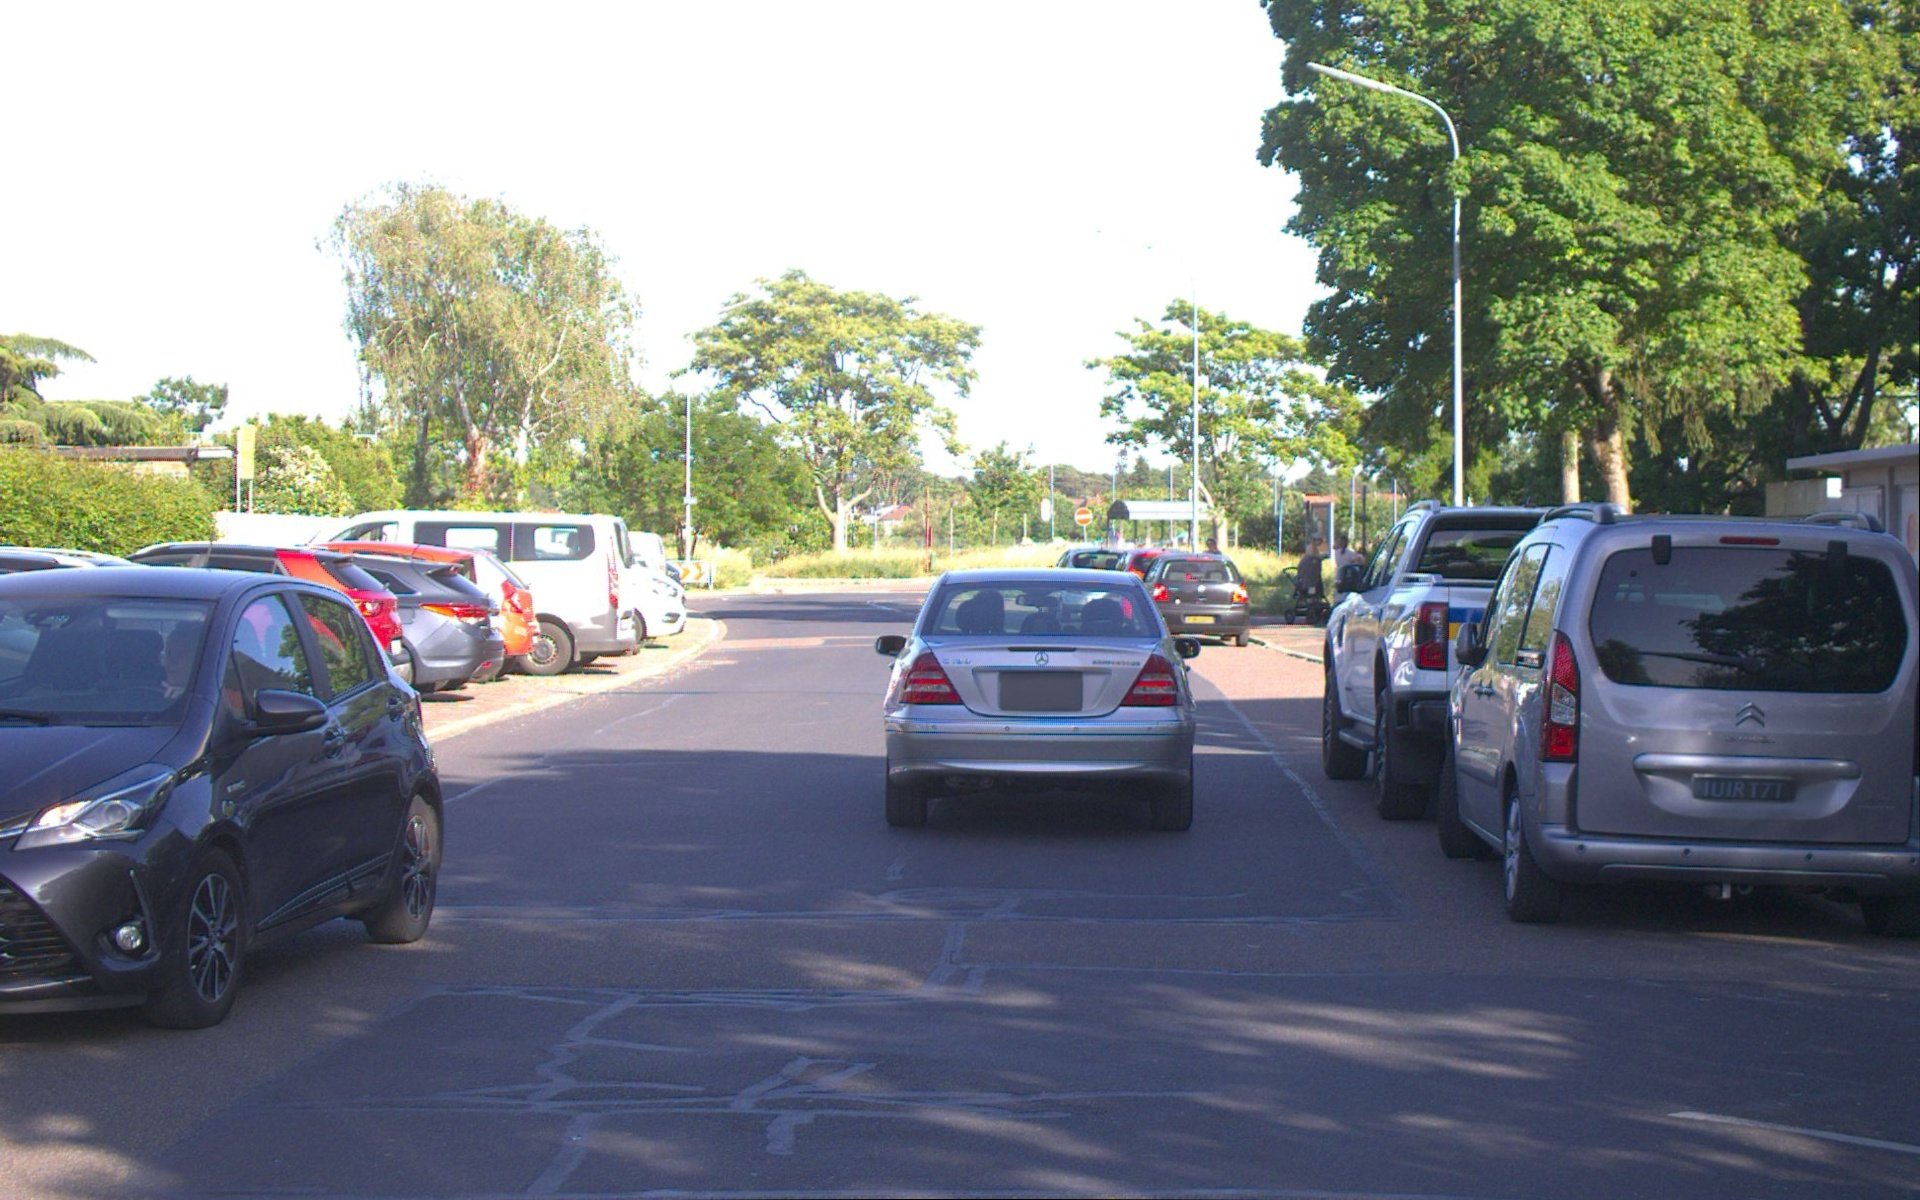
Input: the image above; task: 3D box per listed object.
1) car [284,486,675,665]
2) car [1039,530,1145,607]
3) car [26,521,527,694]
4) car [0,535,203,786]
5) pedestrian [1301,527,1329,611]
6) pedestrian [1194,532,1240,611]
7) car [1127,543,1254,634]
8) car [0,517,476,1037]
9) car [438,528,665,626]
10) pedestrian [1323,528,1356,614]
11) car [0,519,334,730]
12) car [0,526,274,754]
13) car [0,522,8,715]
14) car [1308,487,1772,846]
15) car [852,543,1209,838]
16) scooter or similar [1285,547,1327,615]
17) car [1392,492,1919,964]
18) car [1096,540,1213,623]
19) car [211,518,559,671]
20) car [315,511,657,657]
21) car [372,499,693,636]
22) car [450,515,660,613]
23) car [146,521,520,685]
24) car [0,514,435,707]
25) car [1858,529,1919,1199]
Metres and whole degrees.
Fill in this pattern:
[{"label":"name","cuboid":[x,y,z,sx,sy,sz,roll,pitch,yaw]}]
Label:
[{"label":"car","cuboid":[-5.900,-0.301,42.619,4.479,1.970,2.000,2,0,0]},{"label":"car","cuboid":[2.755,-0.665,72.563,1.731,1.537,3.789,1,0,-5]},{"label":"car","cuboid":[-6.709,0.052,34.019,4.544,1.474,1.747,2,1,1]},{"label":"car","cuboid":[-7.140,0.307,22.324,3.987,1.527,1.832,2,0,0]},{"label":"pedestrian","cuboid":[6.654,-0.578,64.384,0.481,1.559,0.597,-1,0,7]},{"label":"pedestrian","cuboid":[5.198,-0.576,69.508,0.787,1.559,0.570,2,0,-3]},{"label":"car","cuboid":[3.665,-0.190,55.180,1.647,1.398,3.882,0,0,-2]},{"label":"car","cuboid":[-3.047,0.527,12.326,1.650,1.550,4.001,-1,0,6]},{"label":"car","cuboid":[-6.715,-0.378,56.803,3.513,1.441,1.637,2,0,0]},{"label":"pedestrian","cuboid":[6.975,-0.530,63.173,0.485,1.559,0.469,-1,0,-7]},{"label":"car","cuboid":[-7.114,0.141,26.931,4.018,1.507,1.906,2,0,0]},{"label":"car","cuboid":[-7.150,0.214,24.525,4.092,1.507,1.812,2,0,0]},{"label":"car","cuboid":[-7.747,0.283,19.395,4.186,1.650,1.847,2,0,-1]},{"label":"car","cuboid":[3.356,0.279,20.955,1.906,1.834,5.275,2,2,1]},{"label":"car","cuboid":[0.382,0.433,20.015,1.816,1.458,4.361,1,1,0]},{"label":"scooter or similar","cuboid":[6.369,-0.349,63.245,0.623,1.223,0.905,-1,0,-3]},{"label":"car","cuboid":[3.206,0.436,15.743,1.833,1.785,4.555,2,2,0]},{"label":"car","cuboid":[3.526,-0.353,62.910,1.575,1.441,3.789,1,0,-5]},{"label":"car","cuboid":[-6.561,-0.085,39.465,3.602,1.562,1.852,2,1,1]},{"label":"car","cuboid":[-6.177,-0.216,45.136,4.151,1.700,1.884,2,0,1]},{"label":"car","cuboid":[-6.689,-0.512,54.185,4.788,1.914,2.082,2,0,-2]},{"label":"car","cuboid":[-7.876,-0.715,66.984,3.976,1.774,1.926,1,1,-6]},{"label":"car","cuboid":[-6.707,0.011,37.021,3.602,1.562,1.881,2,1,1]},{"label":"car","cuboid":[-6.762,0.067,30.073,3.987,1.474,1.791,2,1,1]},{"label":"car","cuboid":[2.766,0.717,5.118,1.804,1.588,4.023,2,1,1]}]
